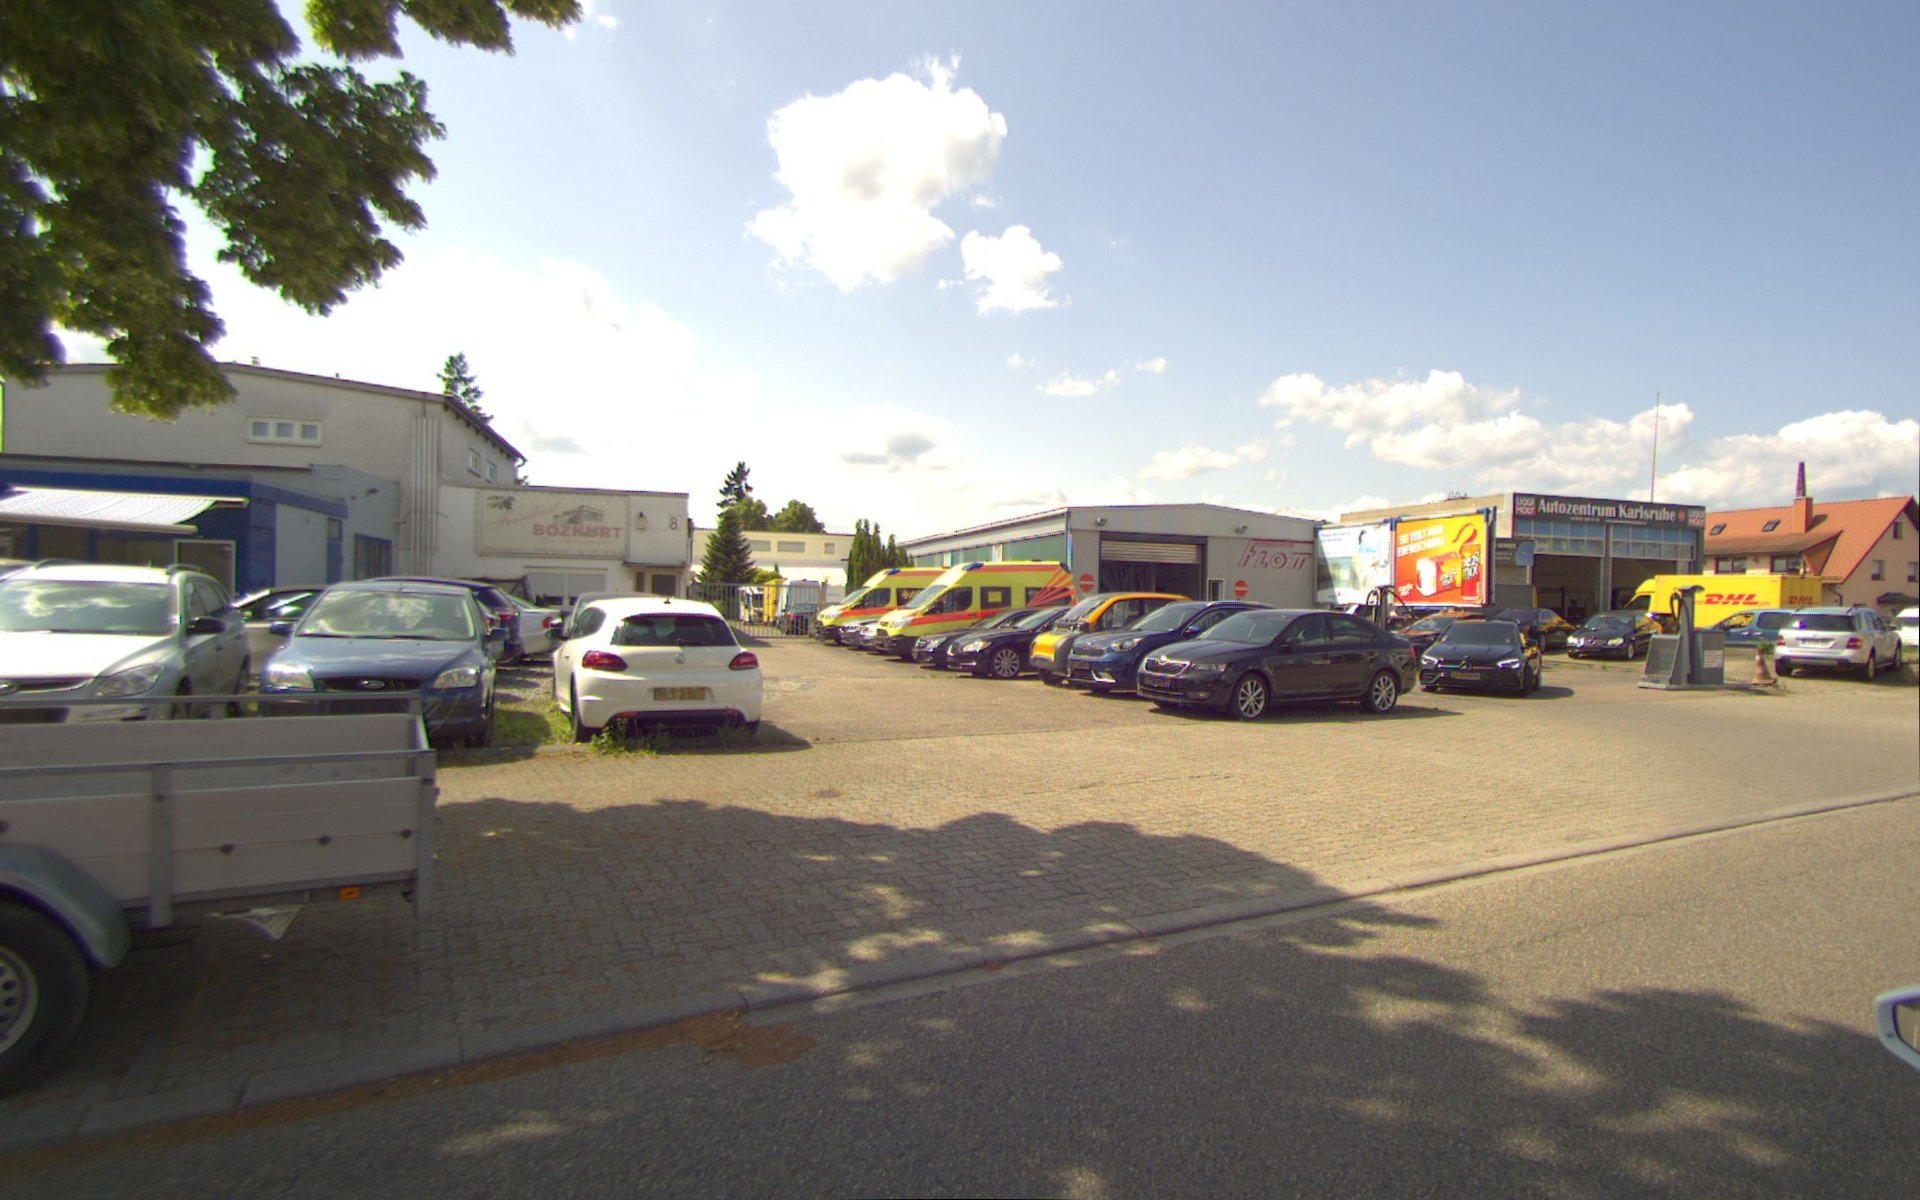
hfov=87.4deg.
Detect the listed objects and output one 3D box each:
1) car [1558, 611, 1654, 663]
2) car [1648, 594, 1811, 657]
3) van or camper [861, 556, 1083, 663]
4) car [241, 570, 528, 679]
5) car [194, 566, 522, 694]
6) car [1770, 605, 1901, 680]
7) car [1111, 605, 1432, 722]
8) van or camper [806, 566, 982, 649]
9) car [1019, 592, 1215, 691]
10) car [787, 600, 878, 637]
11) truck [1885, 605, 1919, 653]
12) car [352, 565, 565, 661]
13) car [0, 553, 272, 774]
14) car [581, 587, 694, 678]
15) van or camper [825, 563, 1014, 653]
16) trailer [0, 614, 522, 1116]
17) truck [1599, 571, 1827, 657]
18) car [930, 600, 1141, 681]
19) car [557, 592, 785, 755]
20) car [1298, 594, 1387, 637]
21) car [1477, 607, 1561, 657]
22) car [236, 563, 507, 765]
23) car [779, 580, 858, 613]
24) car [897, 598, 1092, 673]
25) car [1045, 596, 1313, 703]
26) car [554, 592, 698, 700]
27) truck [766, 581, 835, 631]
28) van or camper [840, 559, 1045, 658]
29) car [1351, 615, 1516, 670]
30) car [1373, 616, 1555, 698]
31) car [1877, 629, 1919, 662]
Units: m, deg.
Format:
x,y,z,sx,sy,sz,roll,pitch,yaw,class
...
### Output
x,y,z,sx,sy,sz,roll,pitch,yaw,class
20.695,1.135,32.131,3.978,1.305,1.654,-3,3,-43,car
25.576,0.798,33.546,1.827,1.834,3.923,1,2,-20,car
0.324,0.227,25.444,5.283,2.508,1.989,0,1,-23,van or camper
-9.453,0.419,16.884,3.942,1.659,1.707,1,0,-23,car
-8.717,0.440,14.969,3.942,1.718,1.707,1,0,-23,car
23.036,1.032,26.368,4.667,1.728,1.814,-1,1,-39,car
4.506,0.844,14.360,4.529,1.429,1.746,1,0,-29,car
-2.118,0.231,32.265,5.283,2.508,1.989,0,1,-23,van or camper
2.869,0.744,18.357,3.253,1.678,1.440,1,0,-23,car
-5.655,0.827,44.550,3.747,1.558,1.744,1,0,-19,car
53.668,1.618,54.810,5.627,2.521,2.110,1,0,-17,truck
-10.641,0.306,21.634,3.942,1.920,1.707,1,0,-23,car
-7.434,0.438,8.727,1.804,1.509,4.129,2,-1,-27,car
-6.111,0.584,19.161,1.766,1.457,3.558,5,-2,-17,car
-1.210,0.229,29.988,5.283,2.508,1.989,0,1,-23,van or camper
-3.906,0.759,3.160,4.456,1.307,1.752,1,3,-31,trailer
27.753,0.487,37.439,2.488,2.888,6.595,1,0,-17,truck
1.592,0.824,20.862,4.114,1.554,1.746,1,-1,-29,car
-3.323,0.644,10.982,1.802,1.392,4.014,1,0,-25,car
15.356,0.611,40.535,1.536,1.613,3.505,1,0,-16,car
19.296,1.050,34.609,1.841,1.391,3.982,3,4,39,car
-5.484,0.511,9.718,1.804,1.509,4.012,2,-1,-27,car
-7.258,-0.169,51.599,3.747,1.558,1.744,1,0,-19,car
0.797,0.790,22.952,4.106,1.554,1.749,1,1,-24,car
3.638,0.770,16.503,4.206,1.554,1.746,1,0,-29,car
-5.112,0.634,15.102,1.768,1.398,3.823,2,-1,-22,car
-9.444,0.345,59.290,3.747,2.851,1.744,1,0,-19,truck
-0.460,0.224,27.556,5.283,2.508,1.989,0,1,-23,van or camper
12.469,1.073,26.514,3.691,1.307,1.890,0,1,-19,car
9.960,1.095,20.296,1.959,1.413,4.597,1,-2,9,car
46.852,2.204,48.735,3.855,1.533,1.764,1,0,-18,car
